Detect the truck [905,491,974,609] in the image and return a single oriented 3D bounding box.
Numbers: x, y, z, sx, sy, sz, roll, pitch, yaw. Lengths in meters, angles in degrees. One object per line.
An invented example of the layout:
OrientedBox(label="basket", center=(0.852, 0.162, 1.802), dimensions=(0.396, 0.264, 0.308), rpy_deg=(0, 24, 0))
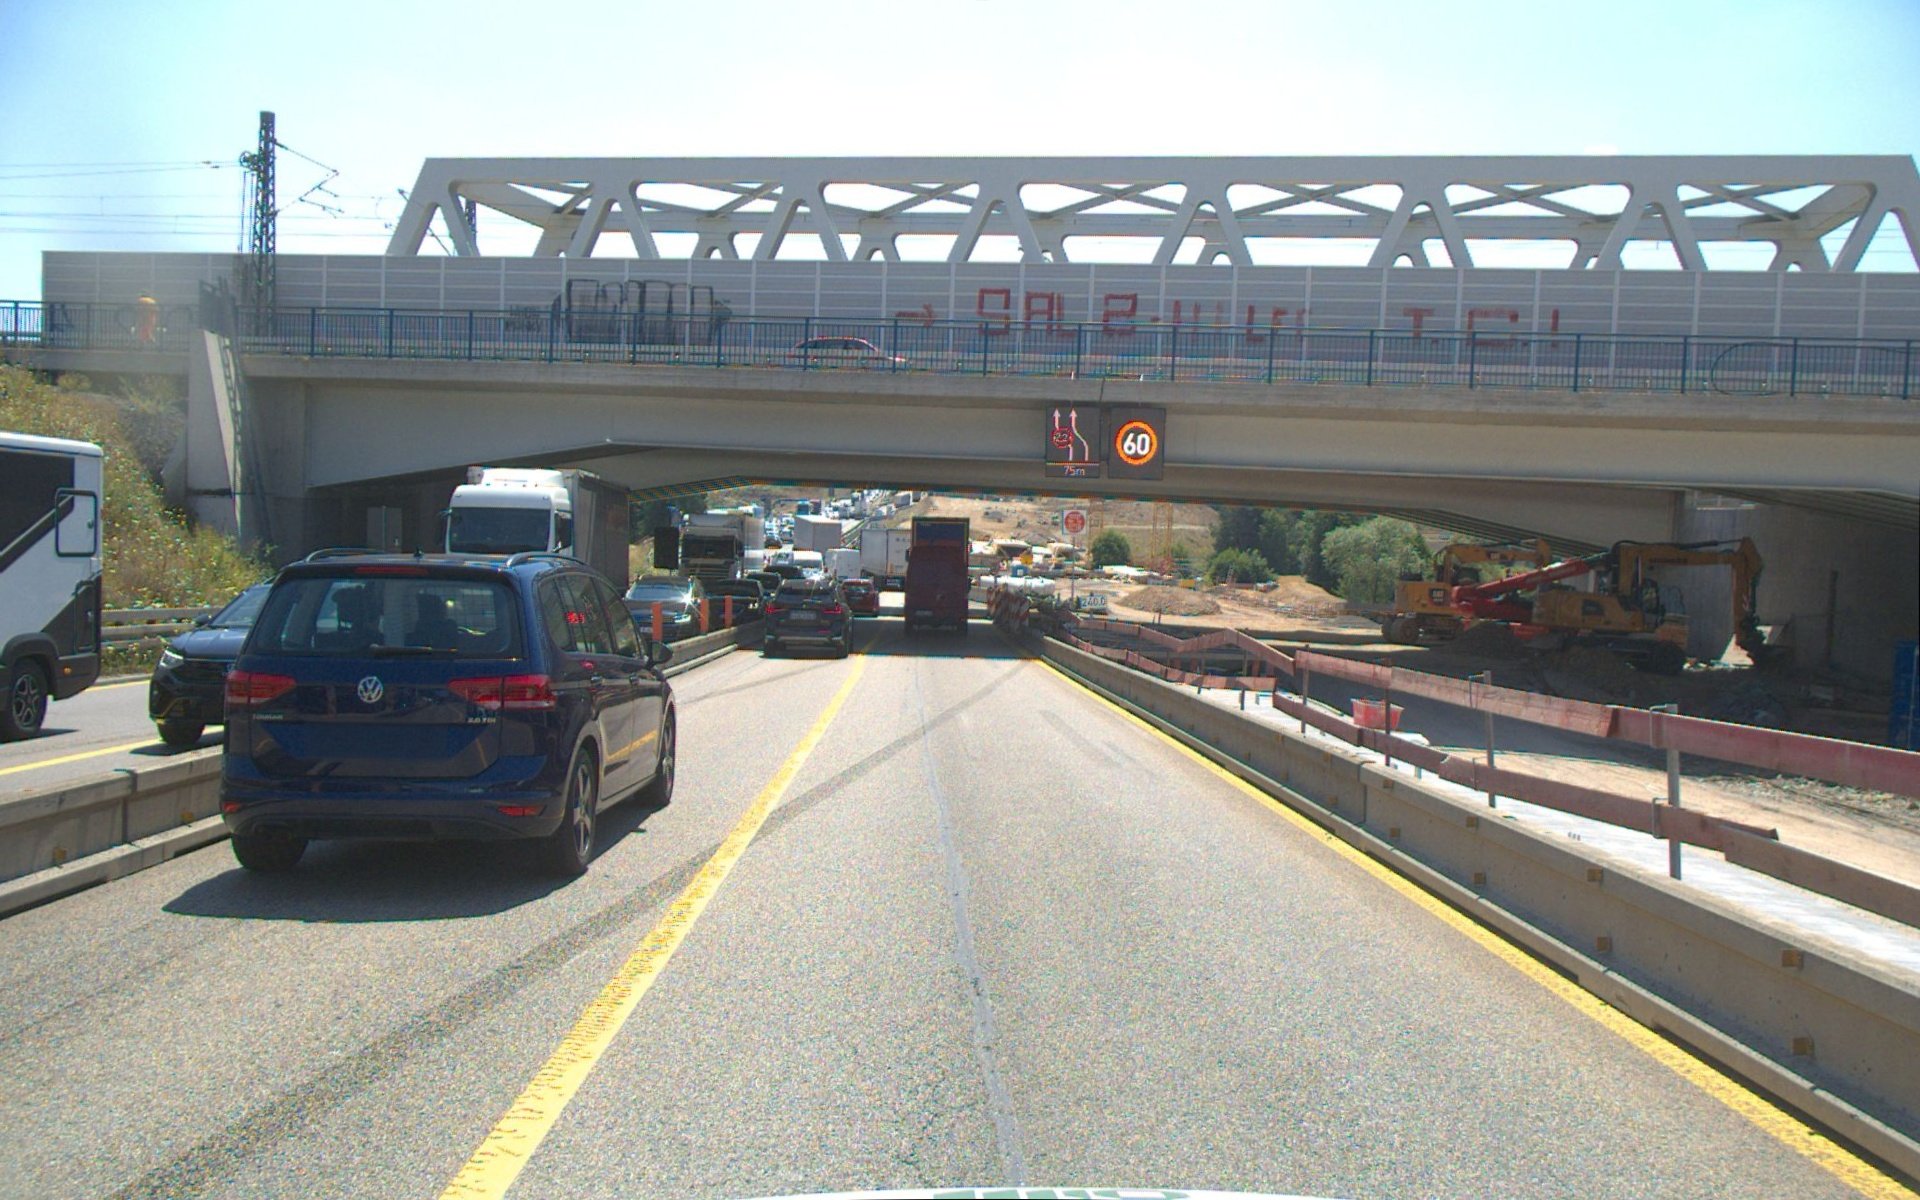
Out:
OrientedBox(label="truck", center=(-0.905, -2.362, 74.967), dimensions=(2.885, 5.030, 6.743), rpy_deg=(2, 3, 0))

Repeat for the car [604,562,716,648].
OrientedBox(label="car", center=(-6.784, 0.121, 37.834), dimensions=(1.818, 1.787, 4.607), rpy_deg=(1, 0, -2))

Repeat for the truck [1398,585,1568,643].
OrientedBox(label="truck", center=(22.327, 0.560, 70.864), dimensions=(6.386, 2.109, 2.666), rpy_deg=(3, 1, 2))

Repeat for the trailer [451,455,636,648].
OrientedBox(label="trailer", center=(-10.120, -1.057, 41.141), dimensions=(2.756, 4.247, 8.239), rpy_deg=(1, 0, -3))

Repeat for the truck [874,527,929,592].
OrientedBox(label="truck", center=(-3.996, -2.781, 111.350), dimensions=(3.121, 4.058, 6.734), rpy_deg=(1, 3, -7))

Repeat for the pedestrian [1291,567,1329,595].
OrientedBox(label="pedestrian", center=(27.701, -1.490, 130.918), dimensions=(1.953, 2.049, 3.998), rpy_deg=(1, 0, -2))

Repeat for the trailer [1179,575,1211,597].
OrientedBox(label="trailer", center=(17.819, -1.050, 125.673), dimensions=(1.592, 1.511, 3.823), rpy_deg=(2, 2, -5))

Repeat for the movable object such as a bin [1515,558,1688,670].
OrientedBox(label="movable object such as a bin", center=(21.014, 0.457, 54.402), dimensions=(4.459, 3.344, 2.991), rpy_deg=(3, 0, 3))

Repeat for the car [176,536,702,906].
OrientedBox(label="car", center=(-2.742, 0.550, 9.818), dimensions=(1.698, 1.664, 4.389), rpy_deg=(1, 0, 0))

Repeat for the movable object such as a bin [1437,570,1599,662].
OrientedBox(label="movable object such as a bin", center=(20.730, 0.595, 61.660), dimensions=(5.131, 3.109, 2.497), rpy_deg=(3, 0, 3))

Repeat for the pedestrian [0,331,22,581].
OrientedBox(label="pedestrian", center=(-8.853, -1.217, 11.868), dimensions=(1.953, 2.049, 3.999), rpy_deg=(1, 0, -1))

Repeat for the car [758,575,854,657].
OrientedBox(label="car", center=(-3.329, 0.329, 36.527), dimensions=(1.797, 1.664, 4.388), rpy_deg=(1, 0, -2))

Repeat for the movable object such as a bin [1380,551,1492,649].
OrientedBox(label="movable object such as a bin", center=(18.844, -0.003, 65.699), dimensions=(3.799, 3.604, 2.905), rpy_deg=(3, 0, 10))

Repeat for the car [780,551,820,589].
OrientedBox(label="car", center=(-10.300, -1.920, 106.217), dimensions=(1.945, 2.370, 6.041), rpy_deg=(1, 1, -11))

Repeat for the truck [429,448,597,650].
OrientedBox(label="truck", center=(-9.943, -1.079, 37.181), dimensions=(2.742, 4.223, 4.071), rpy_deg=(1, -1, -3))

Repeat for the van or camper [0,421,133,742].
OrientedBox(label="van or camper", center=(-9.268, -0.172, 13.170), dimensions=(2.080, 2.752, 6.455), rpy_deg=(1, 0, 0))

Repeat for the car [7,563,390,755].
OrientedBox(label="car", center=(-7.011, 0.457, 15.756), dimensions=(1.718, 1.544, 4.186), rpy_deg=(1, 1, -1))

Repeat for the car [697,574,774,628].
OrientedBox(label="car", center=(-6.871, 0.042, 51.021), dimensions=(1.818, 1.554, 4.771), rpy_deg=(1, 0, -2))

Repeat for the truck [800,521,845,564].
OrientedBox(label="truck", center=(-12.395, -5.118, 148.347), dimensions=(3.161, 3.419, 8.918), rpy_deg=(1, 0, -10))

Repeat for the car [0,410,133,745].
OrientedBox(label="car", center=(-9.309, -0.221, 13.242), dimensions=(2.229, 2.870, 6.555), rpy_deg=(1, 0, -2))

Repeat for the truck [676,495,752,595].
OrientedBox(label="truck", center=(-10.974, -2.388, 74.207), dimensions=(2.605, 4.243, 5.185), rpy_deg=(1, 0, -1))

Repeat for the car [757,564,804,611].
OrientedBox(label="car", center=(-8.046, -0.582, 74.568), dimensions=(1.764, 1.966, 4.965), rpy_deg=(1, 1, -3))

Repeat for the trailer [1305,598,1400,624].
OrientedBox(label="trailer", center=(21.224, 0.598, 89.613), dimensions=(4.618, 1.241, 2.055), rpy_deg=(1, 0, -2))

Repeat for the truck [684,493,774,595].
OrientedBox(label="truck", center=(-11.114, -2.523, 80.785), dimensions=(2.713, 4.389, 13.486), rpy_deg=(1, 0, -1))

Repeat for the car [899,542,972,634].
OrientedBox(label="car", center=(-0.756, -0.329, 51.301), dimensions=(2.106, 2.656, 5.437), rpy_deg=(1, 0, -1))

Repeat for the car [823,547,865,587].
OrientedBox(label="car", center=(-7.971, -2.270, 112.982), dimensions=(2.224, 2.395, 5.149), rpy_deg=(1, 3, -11))

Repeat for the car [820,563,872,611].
OrientedBox(label="car", center=(-4.574, -0.521, 66.856), dimensions=(1.796, 1.808, 4.388), rpy_deg=(1, 0, -1))
